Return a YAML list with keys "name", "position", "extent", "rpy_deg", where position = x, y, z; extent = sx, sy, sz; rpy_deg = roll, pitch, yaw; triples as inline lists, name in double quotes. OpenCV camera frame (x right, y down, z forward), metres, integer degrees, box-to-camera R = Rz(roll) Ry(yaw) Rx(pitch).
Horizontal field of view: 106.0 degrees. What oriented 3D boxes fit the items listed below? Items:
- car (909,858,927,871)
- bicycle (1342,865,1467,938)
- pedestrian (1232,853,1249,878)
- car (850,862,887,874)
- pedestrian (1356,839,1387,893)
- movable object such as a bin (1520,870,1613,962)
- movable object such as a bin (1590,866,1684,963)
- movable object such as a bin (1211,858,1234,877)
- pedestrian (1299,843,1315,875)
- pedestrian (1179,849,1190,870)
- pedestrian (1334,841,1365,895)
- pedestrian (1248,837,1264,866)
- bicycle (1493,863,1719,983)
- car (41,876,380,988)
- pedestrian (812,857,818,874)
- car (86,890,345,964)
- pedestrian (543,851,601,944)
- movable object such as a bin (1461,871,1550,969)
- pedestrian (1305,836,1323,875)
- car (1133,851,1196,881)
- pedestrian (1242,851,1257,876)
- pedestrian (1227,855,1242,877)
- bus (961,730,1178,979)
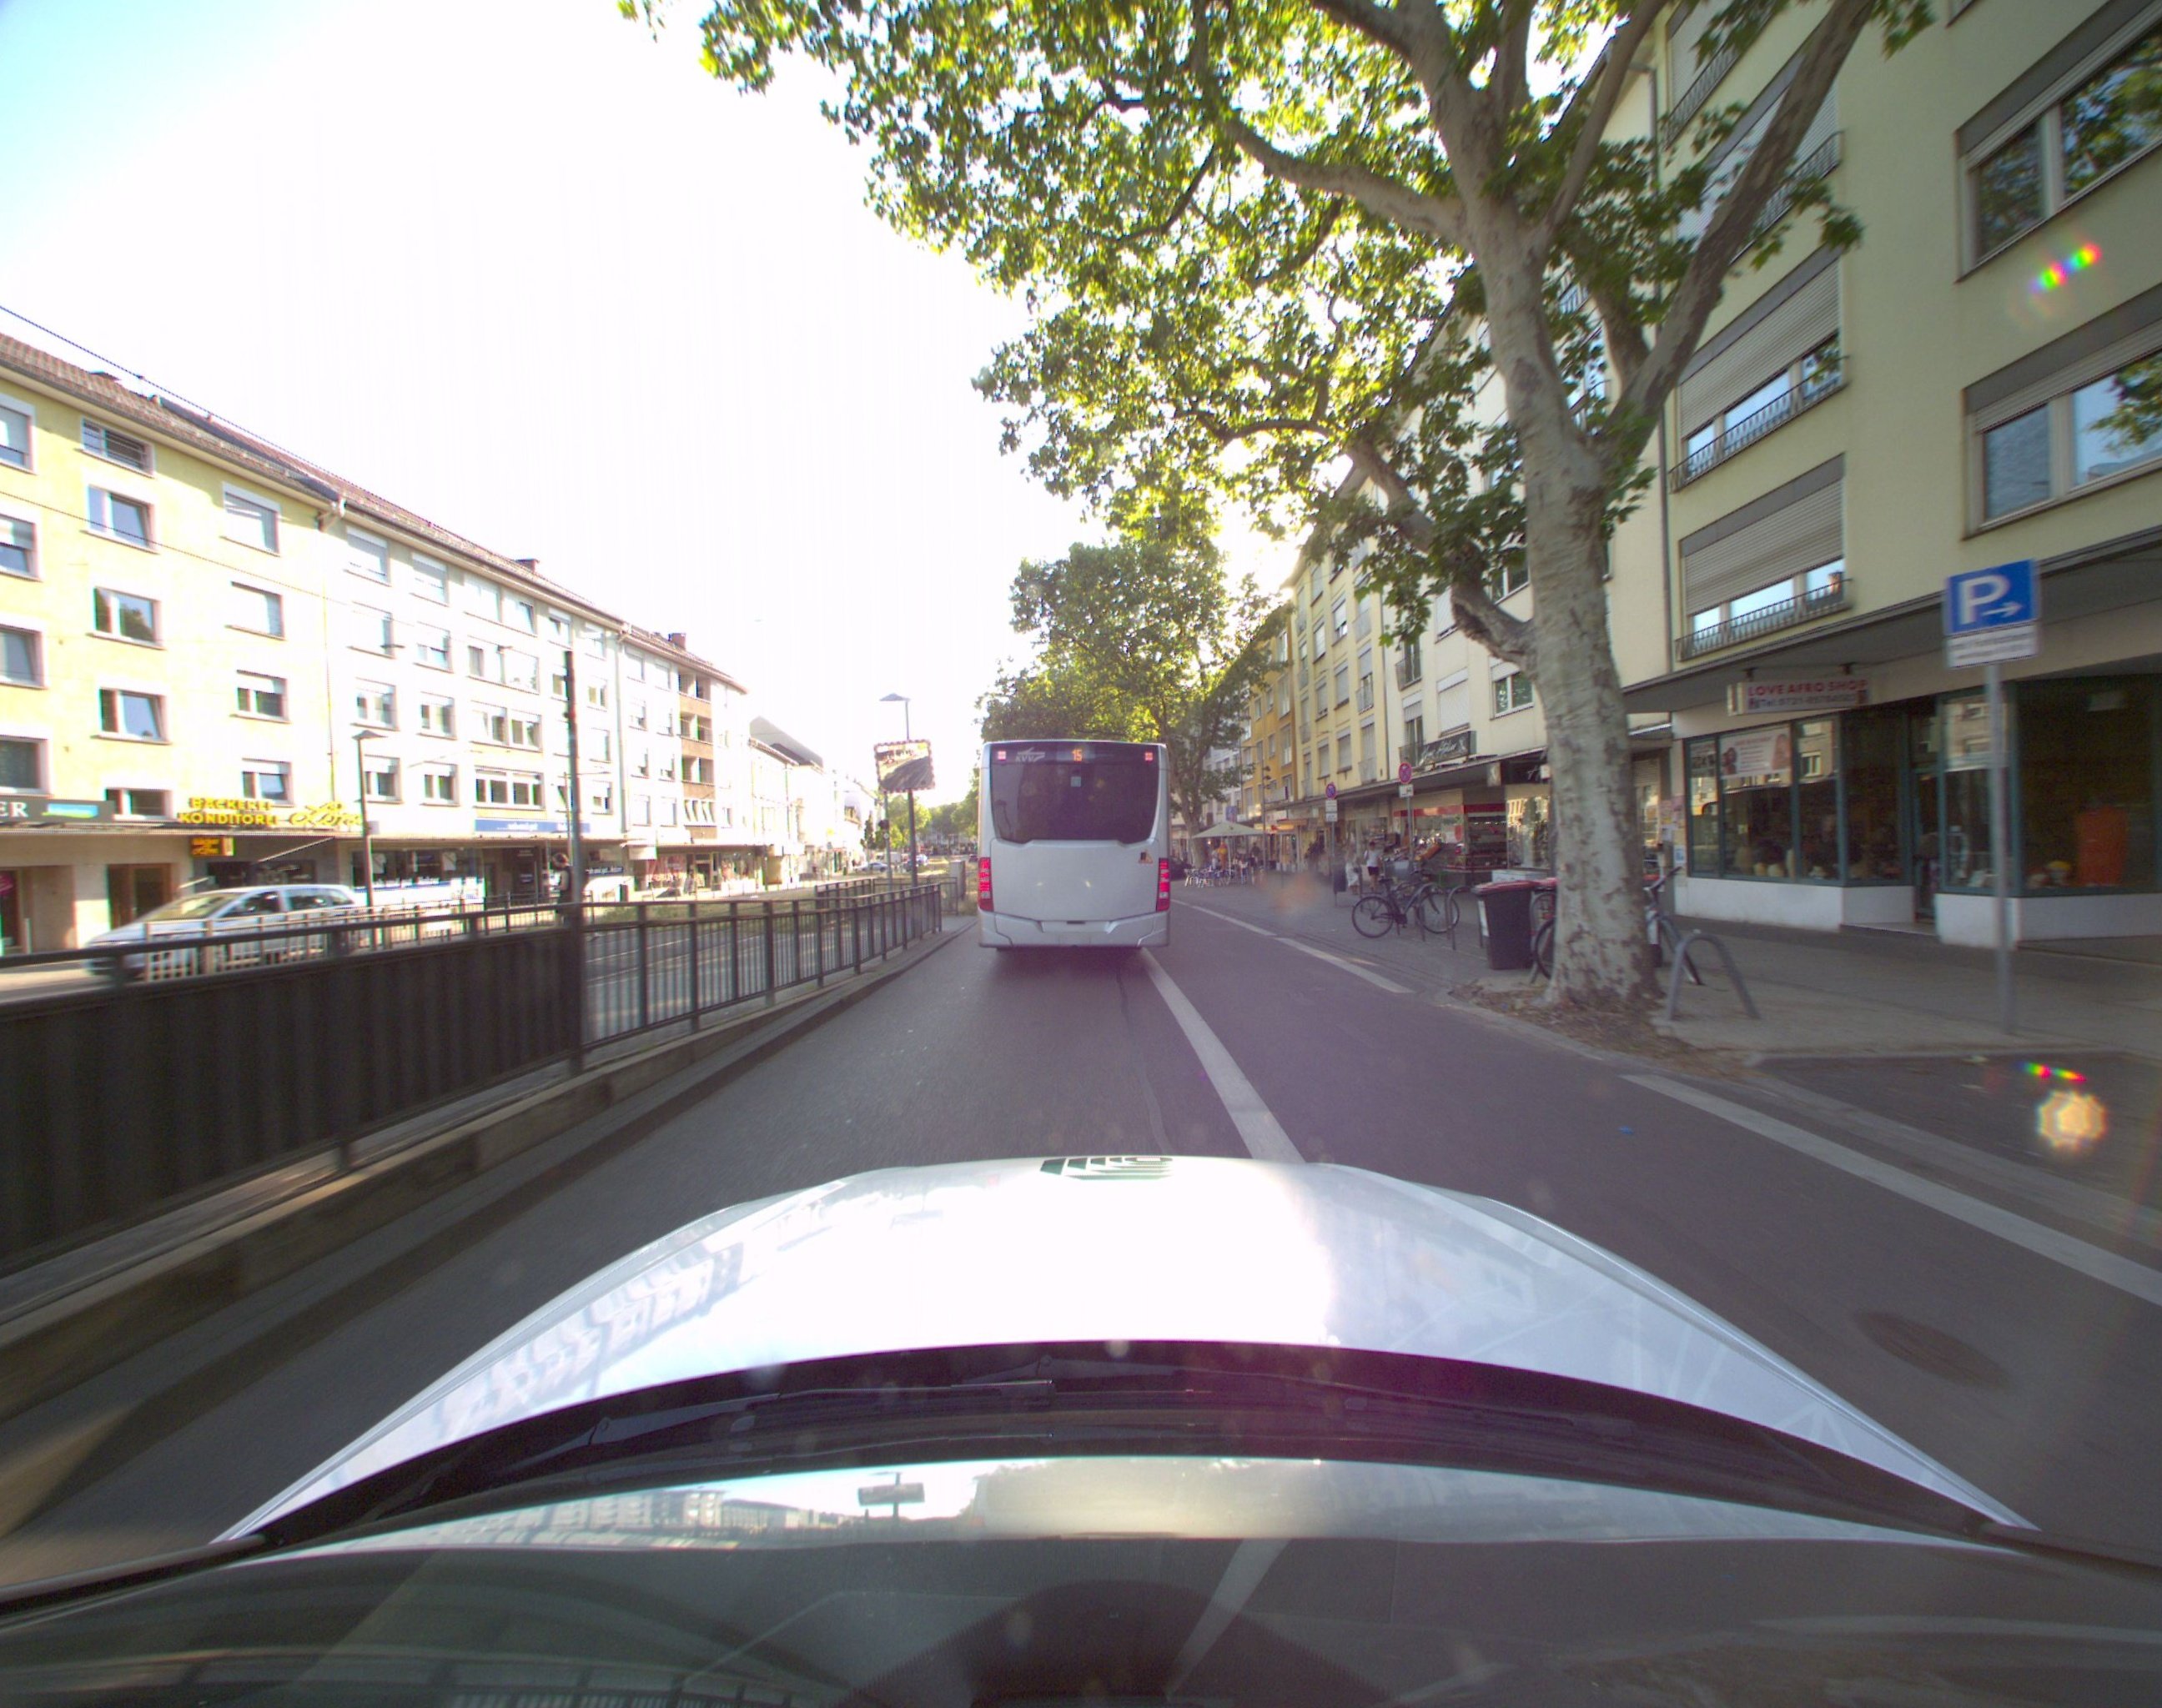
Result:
- name: "car"
  position: [-21.340, 1.416, 106.756]
  extent: [1.719, 1.509, 3.471]
  rpy_deg: [-5, 0, -4]
- name: "bicycle"
  position: [5.638, 0.824, 14.271]
  extent: [1.896, 1.105, 0.519]
  rpy_deg: [-5, 0, 8]
- name: "pedestrian"
  position: [8.026, 0.583, 41.055]
  extent: [0.604, 1.225, 0.744]
  rpy_deg: [-2, 0, -5]
- name: "car"
  position: [-29.477, 1.933, 113.128]
  extent: [4.577, 1.412, 1.976]
  rpy_deg: [-2, 0, -42]
- name: "pedestrian"
  position: [8.848, 0.360, 24.844]
  extent: [0.620, 1.586, 0.627]
  rpy_deg: [-4, 0, 1]
- name: "movable object such as a bin"
  position: [6.129, 0.766, 10.314]
  extent: [0.720, 1.072, 0.644]
  rpy_deg: [-4, -1, 0]
- name: "movable object such as a bin"
  position: [6.568, 0.706, 9.656]
  extent: [0.716, 1.072, 0.647]
  rpy_deg: [-4, -1, 20]
- name: "movable object such as a bin"
  position: [7.717, 0.748, 44.309]
  extent: [0.931, 1.023, 0.832]
  rpy_deg: [0, 0, -28]
- name: "pedestrian"
  position: [11.221, 0.257, 40.387]
  extent: [0.619, 1.546, 0.641]
  rpy_deg: [-3, 0, 26]
- name: "pedestrian"
  position: [8.967, 0.510, 70.732]
  extent: [0.779, 1.794, 0.763]
  rpy_deg: [-2, 0, -5]
- name: "pedestrian"
  position: [8.187, 0.410, 24.864]
  extent: [0.633, 1.586, 0.627]
  rpy_deg: [-4, 0, 1]
- name: "pedestrian"
  position: [11.436, -0.167, 53.233]
  extent: [0.704, 1.791, 0.788]
  rpy_deg: [-5, 0, 1]
- name: "bicycle"
  position: [5.161, 0.678, 8.097]
  extent: [1.711, 1.118, 0.746]
  rpy_deg: [-1, -4, 2]
- name: "car"
  position: [-17.200, 1.429, 16.514]
  extent: [1.987, 1.716, 4.436]
  rpy_deg: [-2, 0, 1]
- name: "pedestrian"
  position: [-27.731, 1.206, 84.971]
  extent: [0.424, 1.713, 0.508]
  rpy_deg: [-2, 0, -1]
- name: "car"
  position: [-22.004, 1.785, 21.042]
  extent: [1.988, 1.478, 4.409]
  rpy_deg: [0, 0, -1]
- name: "pedestrian"
  position: [-10.406, 0.871, 16.679]
  extent: [0.740, 1.848, 0.589]
  rpy_deg: [-2, 0, -4]
- name: "movable object such as a bin"
  position: [5.310, 0.815, 10.222]
  extent: [0.718, 1.102, 0.646]
  rpy_deg: [-6, -1, 9]
- name: "pedestrian"
  position: [11.084, 0.060, 38.731]
  extent: [0.629, 1.804, 0.631]
  rpy_deg: [-3, 0, 31]
- name: "car"
  position: [4.881, 0.676, 47.223]
  extent: [1.720, 1.540, 3.630]
  rpy_deg: [-3, 0, 44]
- name: "pedestrian"
  position: [8.831, 0.500, 42.746]
  extent: [0.582, 1.275, 0.758]
  rpy_deg: [0, 0, -5]
- name: "pedestrian"
  position: [8.185, 0.631, 43.411]
  extent: [0.582, 1.115, 0.749]
  rpy_deg: [0, 0, -5]
- name: "bus"
  position: [-0.204, -0.016, 13.820]
  extent: [2.670, 3.083, 7.110]
  rpy_deg: [-1, 0, -1]
